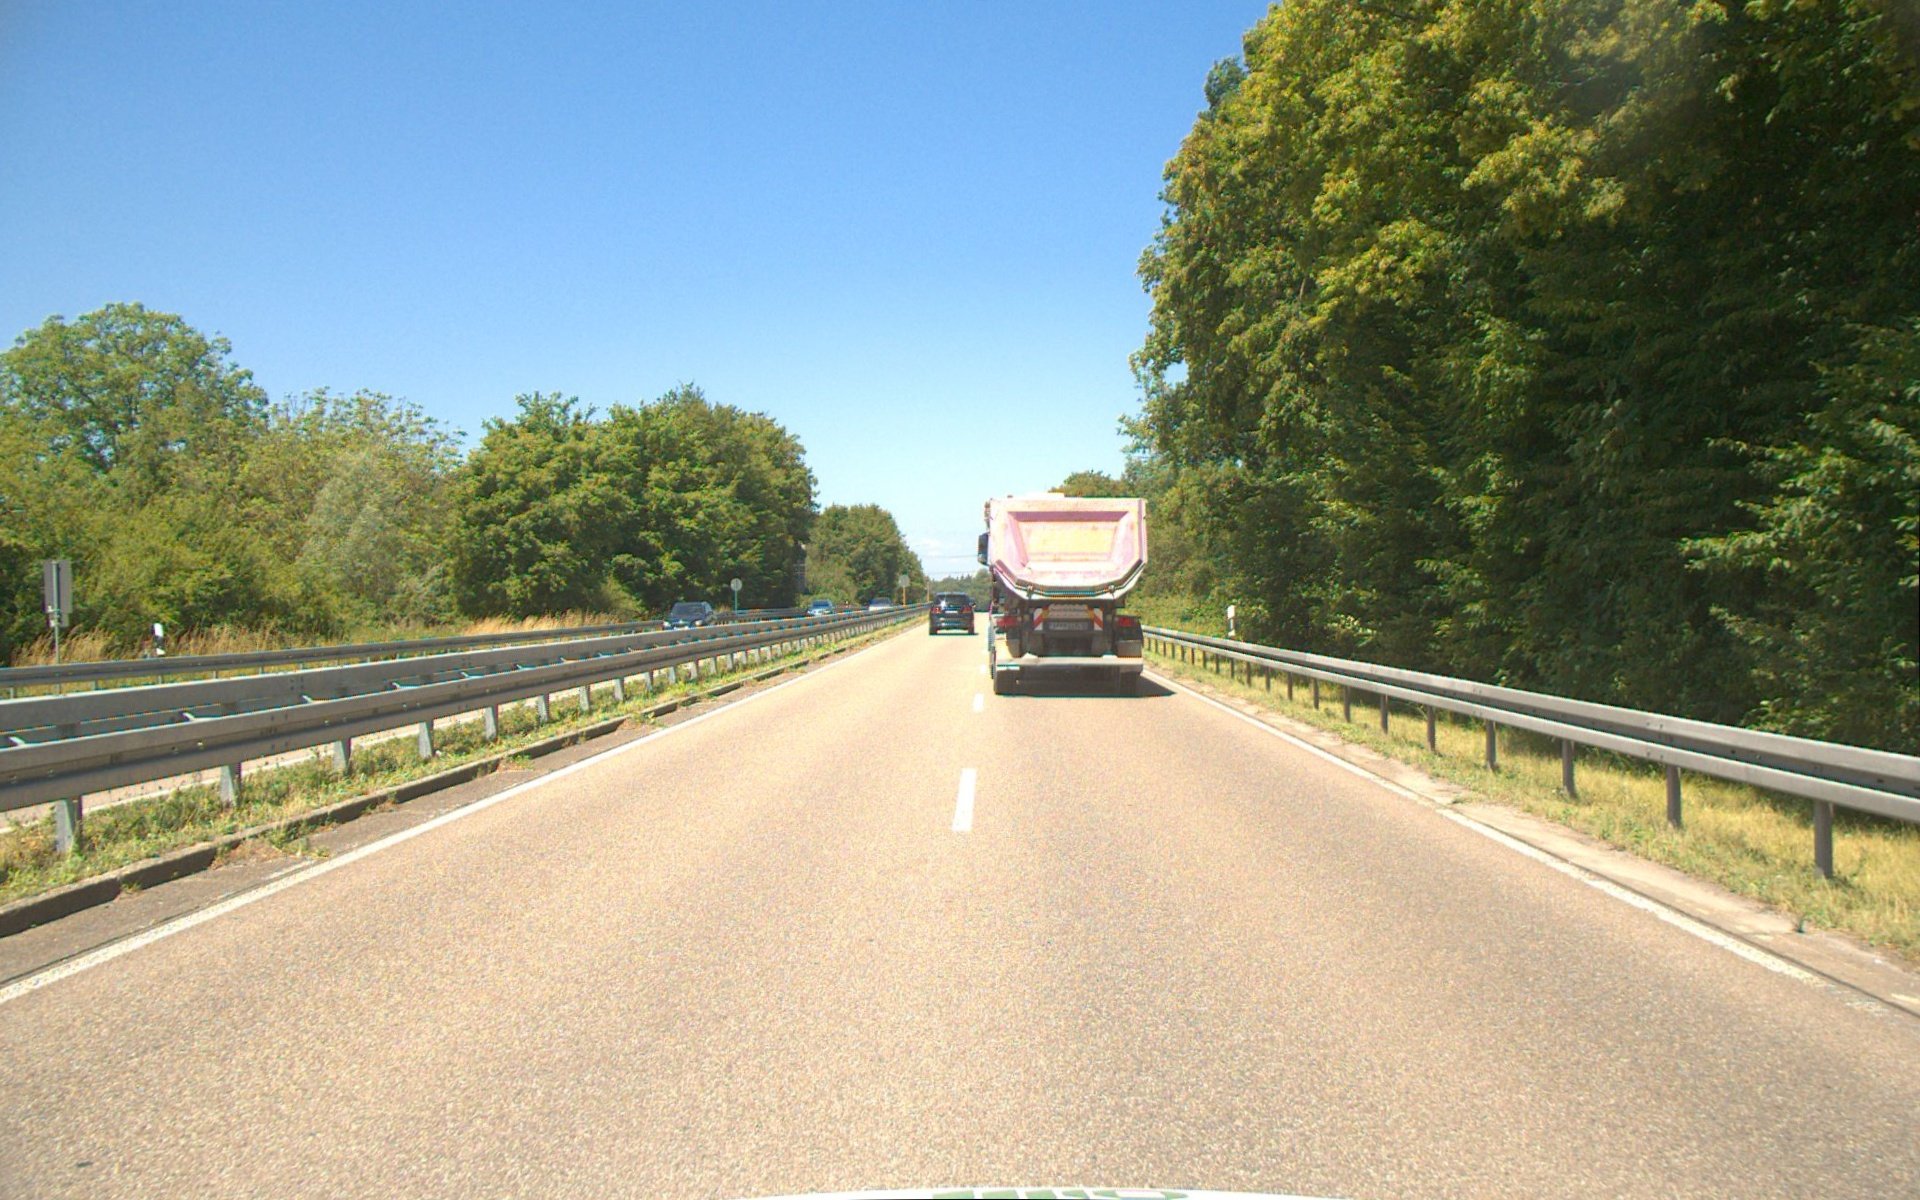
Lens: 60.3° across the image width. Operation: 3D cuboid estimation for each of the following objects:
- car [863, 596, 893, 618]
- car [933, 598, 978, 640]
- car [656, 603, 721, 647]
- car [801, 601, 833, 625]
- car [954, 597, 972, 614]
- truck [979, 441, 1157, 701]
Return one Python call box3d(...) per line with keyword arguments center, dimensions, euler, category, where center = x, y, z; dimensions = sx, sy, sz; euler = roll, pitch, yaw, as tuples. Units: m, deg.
box3d(center=(-6.545, 0.562, 132.664), dimensions=(1.952, 1.660, 4.554), euler=(-2, 0, 3), category="car")
box3d(center=(-0.183, 0.844, 70.048), dimensions=(1.819, 1.701, 3.999), euler=(0, -2, 0), category="car")
box3d(center=(-11.034, 0.990, 67.499), dimensions=(1.742, 1.648, 4.506), euler=(-2, 0, 2), category="car")
box3d(center=(-10.236, 0.905, 118.635), dimensions=(1.775, 1.570, 4.929), euler=(-2, 0, 1), category="car")
box3d(center=(0.350, 0.665, 180.666), dimensions=(1.819, 1.748, 4.000), euler=(0, -2, 2), category="car")
box3d(center=(1.741, -0.449, 31.707), dimensions=(2.664, 3.999, 12.370), euler=(0, 0, 0), category="truck")
